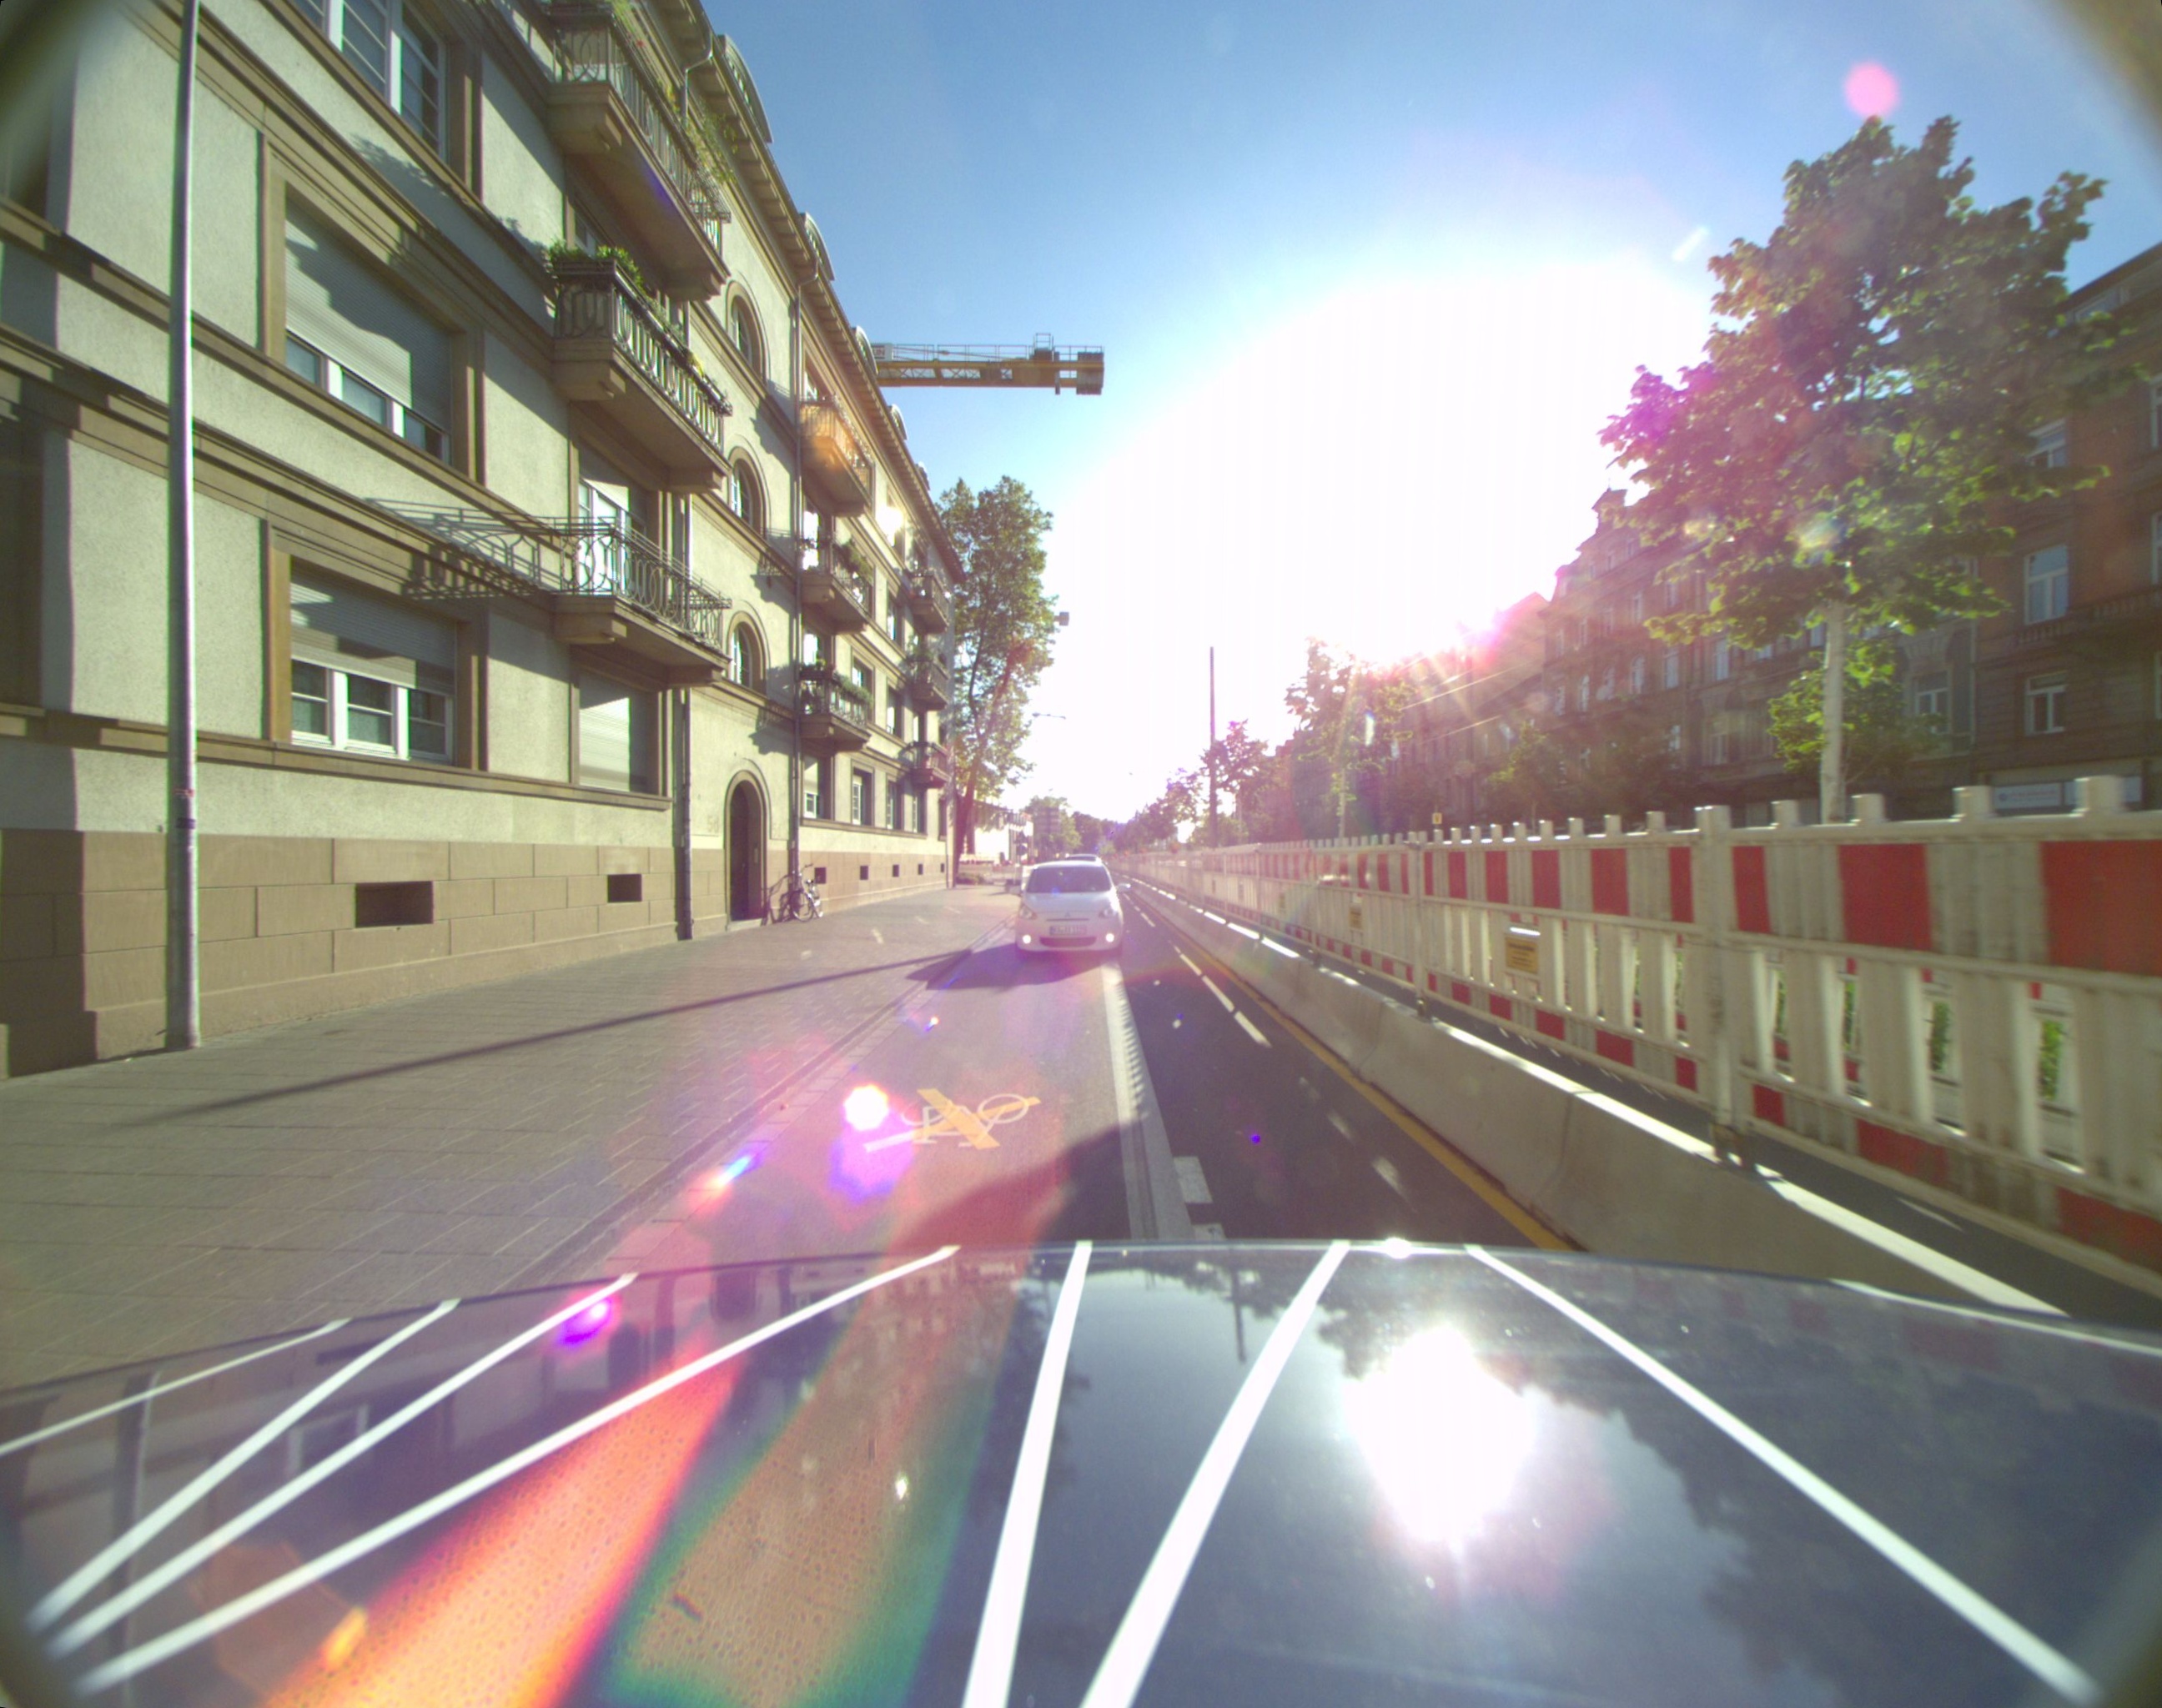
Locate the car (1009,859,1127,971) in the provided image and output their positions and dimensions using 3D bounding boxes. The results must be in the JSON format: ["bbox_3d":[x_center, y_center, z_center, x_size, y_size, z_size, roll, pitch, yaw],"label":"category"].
[{"bbox_3d":[-0.145,0.897,13.155,1.634,1.499,4.350,-2,0,1],"label":"car"}]

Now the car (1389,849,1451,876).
[{"bbox_3d":[23.083,0.561,51.973,1.998,1.688,4.887,-2,0,0],"label":"car"}]

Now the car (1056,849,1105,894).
[{"bbox_3d":[-0.008,0.695,32.848,1.899,1.730,4.000,-3,0,0],"label":"car"}]

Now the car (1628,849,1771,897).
[{"bbox_3d":[23.657,0.664,29.320,1.943,1.648,4.545,-2,0,3],"label":"car"}]

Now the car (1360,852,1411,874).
[{"bbox_3d":[23.268,0.659,58.248,1.998,1.529,4.984,-2,0,1],"label":"car"}]

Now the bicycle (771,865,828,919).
[{"bbox_3d":[-6.268,0.818,17.021,0.419,1.089,2.198,0,1,1],"label":"bicycle"}]
